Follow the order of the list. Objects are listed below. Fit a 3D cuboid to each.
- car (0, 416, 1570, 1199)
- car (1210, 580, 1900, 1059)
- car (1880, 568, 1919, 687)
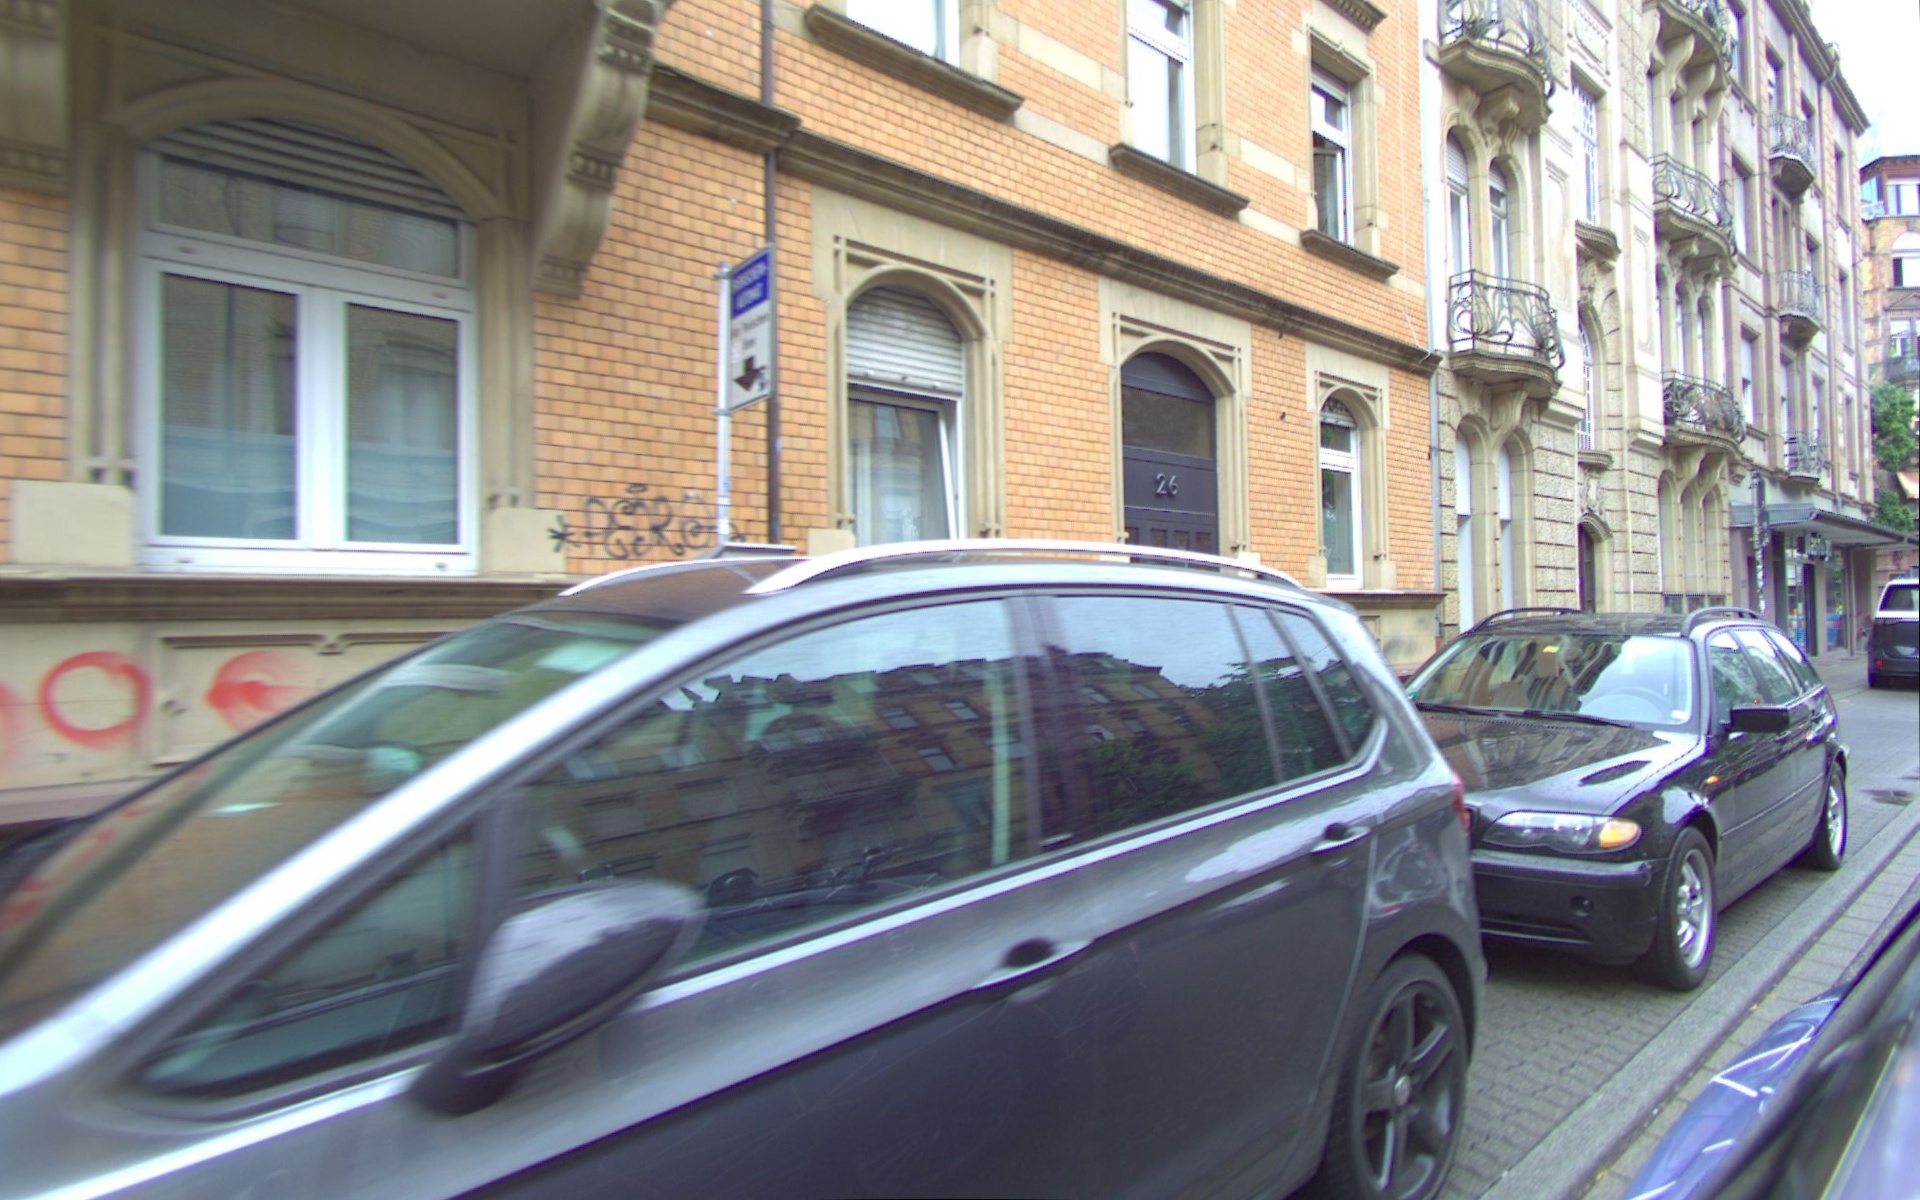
[{"bbox_3d":[-0.516,0.640,2.224,4.267,1.581,1.875,0,0,-39],"label":"car"},{"bbox_3d":[3.459,0.717,5.475,4.404,1.485,1.790,-3,1,-39],"label":"car"},{"bbox_3d":[18.017,0.432,18.031,5.142,1.963,1.996,-1,0,-43],"label":"car"}]
